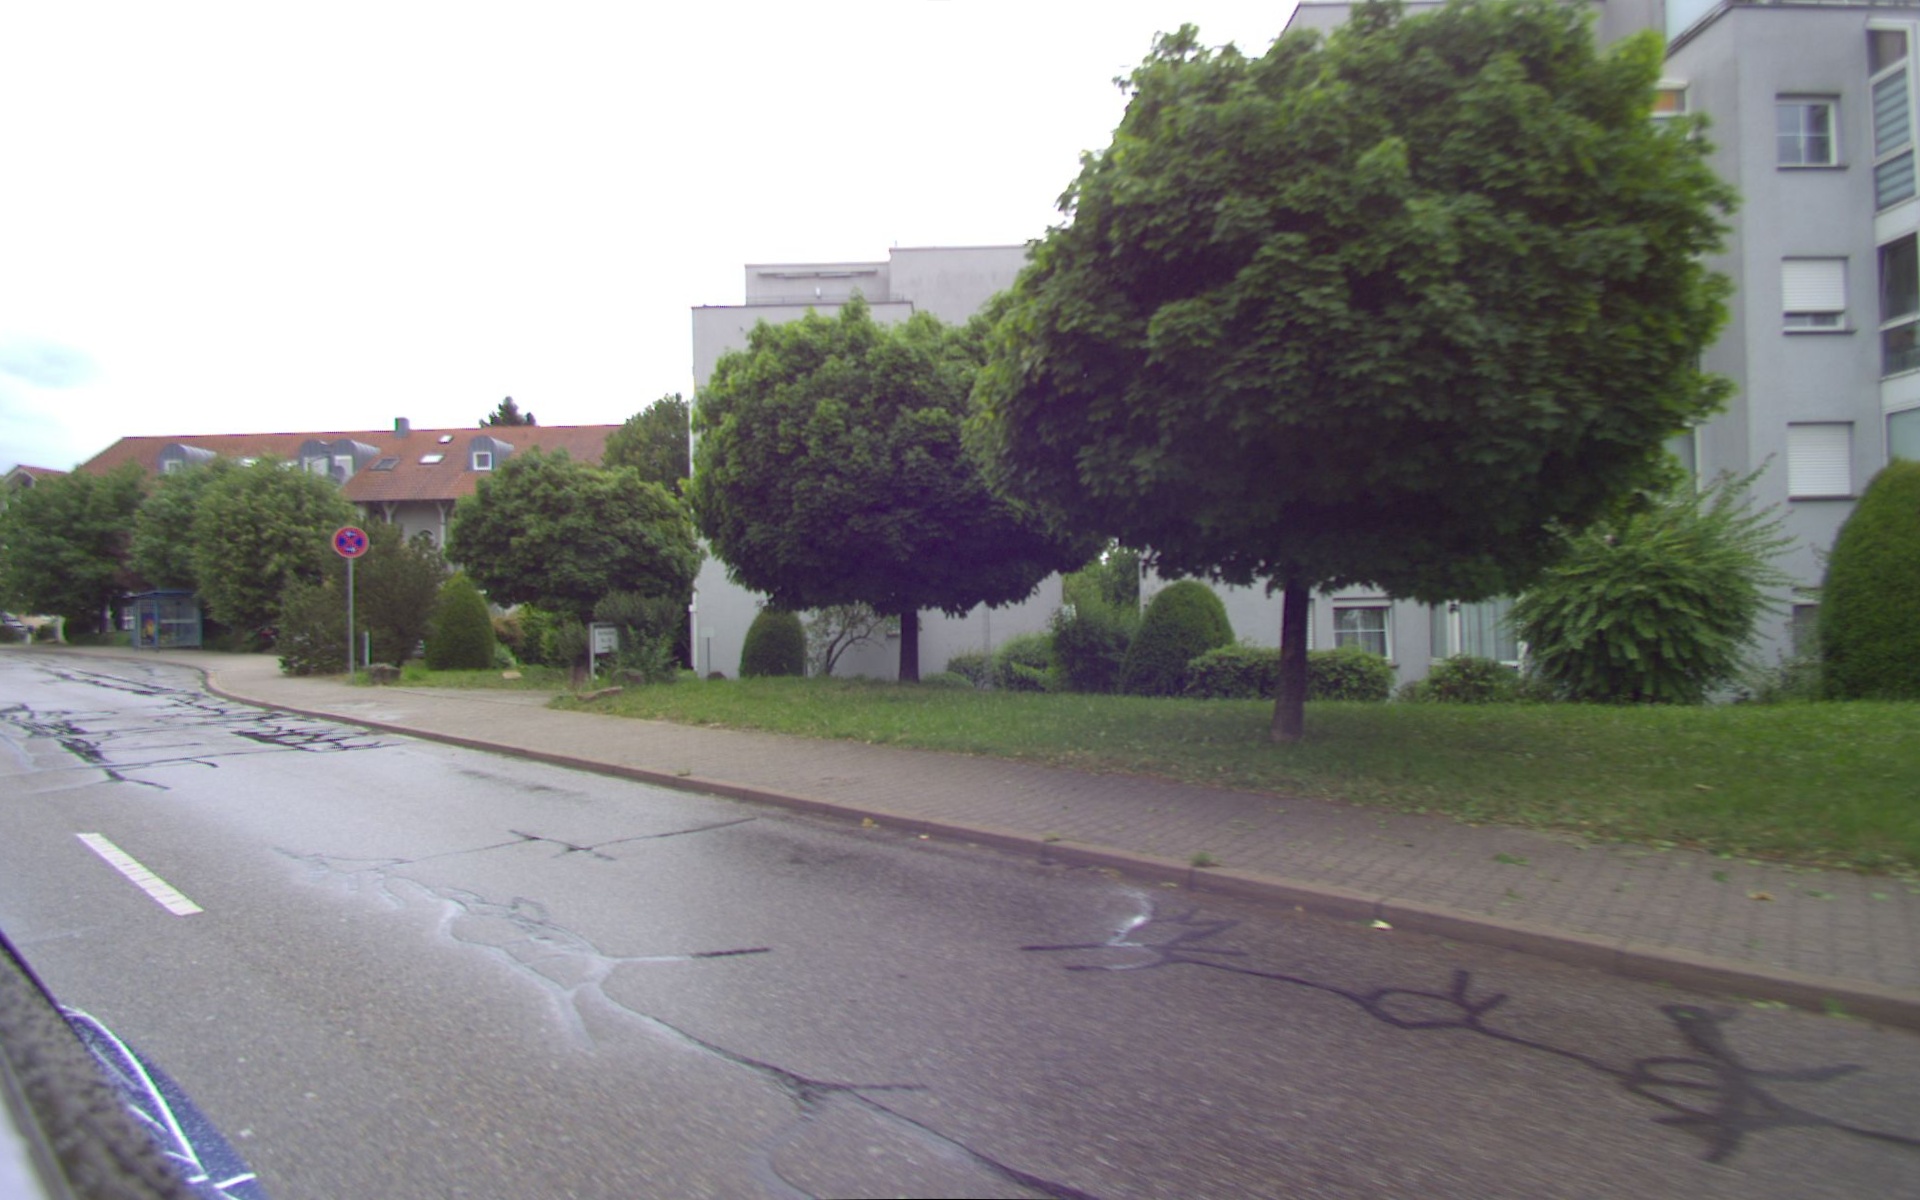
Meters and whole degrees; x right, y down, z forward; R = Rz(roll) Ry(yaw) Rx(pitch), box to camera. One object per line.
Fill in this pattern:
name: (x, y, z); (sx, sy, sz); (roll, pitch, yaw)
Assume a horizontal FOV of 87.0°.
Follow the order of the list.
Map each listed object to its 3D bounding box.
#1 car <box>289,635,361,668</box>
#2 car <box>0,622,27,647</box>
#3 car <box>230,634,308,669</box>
car: (-31.149, 2.481, 49.604); (3.991, 1.475, 1.596); (-1, 0, 35)
car: (-64.272, 2.287, 66.699); (3.944, 1.614, 1.738); (0, -2, 0)
car: (-32.589, 2.398, 47.708); (3.991, 1.475, 1.753); (-1, 0, 35)
